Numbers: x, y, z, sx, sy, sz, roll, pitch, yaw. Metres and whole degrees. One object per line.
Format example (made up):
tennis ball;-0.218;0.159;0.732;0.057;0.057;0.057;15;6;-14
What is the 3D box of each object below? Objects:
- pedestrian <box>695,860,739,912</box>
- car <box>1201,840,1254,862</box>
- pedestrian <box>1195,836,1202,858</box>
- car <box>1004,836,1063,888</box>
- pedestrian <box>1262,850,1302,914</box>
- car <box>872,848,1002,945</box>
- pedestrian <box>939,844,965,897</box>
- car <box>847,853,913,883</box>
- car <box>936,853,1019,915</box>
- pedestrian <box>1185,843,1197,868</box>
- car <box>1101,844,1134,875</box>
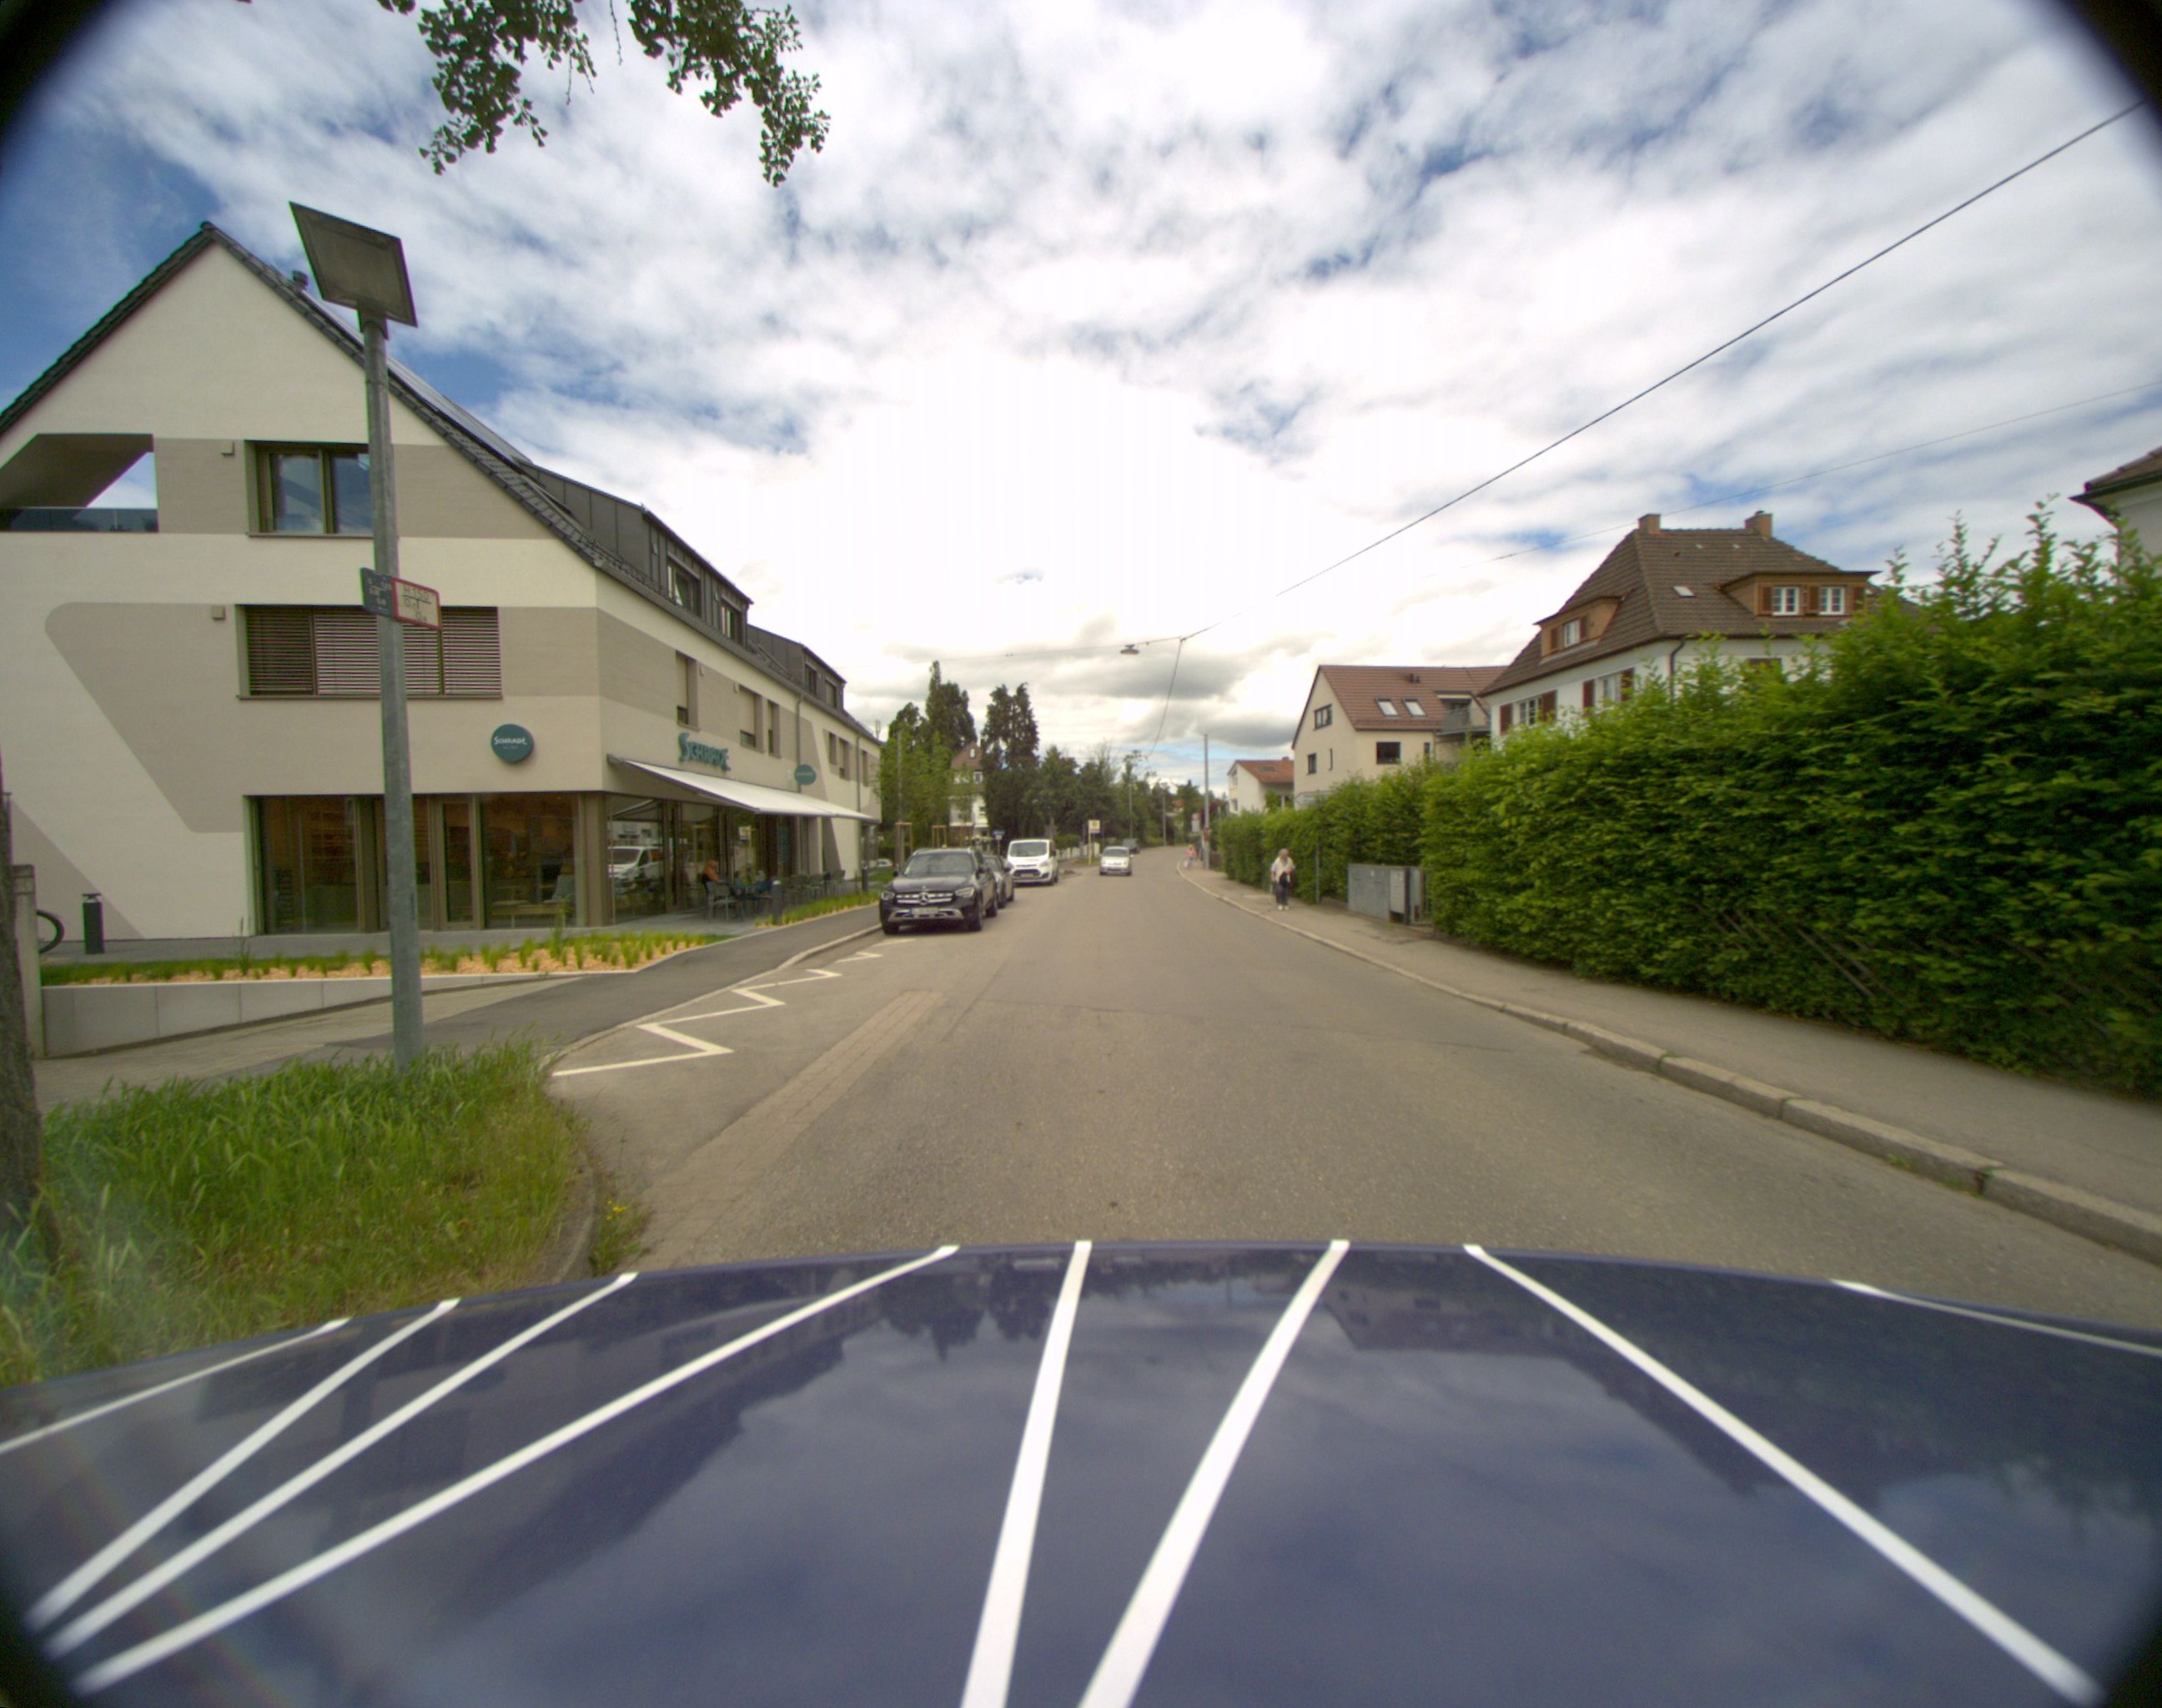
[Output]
pedestrian;-9.021;0.788;18.845;0.753;1.231;0.691;-1;1;-4
car;11.677;-0.243;60.743;3.996;1.718;1.885;-1;1;4
pedestrian;10.350;-0.654;67.040;0.535;1.941;0.528;-1;2;11
car;-1.971;0.265;33.243;1.998;2.002;5.566;-3;1;1
pedestrian;5.011;0.685;18.966;0.749;1.522;0.544;-3;1;-11
car;-2.816;0.744;15.859;1.852;1.627;4.464;-2;1;-1
pedestrian;-4.153;0.520;24.505;0.678;1.659;0.660;0;2;1
car;-13.388;0.892;50.793;3.844;1.587;1.874;-5;2;-5
car;-2.782;0.761;21.216;1.711;1.444;3.834;-2;1;0
pedestrian;7.075;0.116;48.934;0.619;1.590;0.608;-1;2;0
car;1.975;0.257;42.047;1.725;1.559;3.927;-1;1;2
